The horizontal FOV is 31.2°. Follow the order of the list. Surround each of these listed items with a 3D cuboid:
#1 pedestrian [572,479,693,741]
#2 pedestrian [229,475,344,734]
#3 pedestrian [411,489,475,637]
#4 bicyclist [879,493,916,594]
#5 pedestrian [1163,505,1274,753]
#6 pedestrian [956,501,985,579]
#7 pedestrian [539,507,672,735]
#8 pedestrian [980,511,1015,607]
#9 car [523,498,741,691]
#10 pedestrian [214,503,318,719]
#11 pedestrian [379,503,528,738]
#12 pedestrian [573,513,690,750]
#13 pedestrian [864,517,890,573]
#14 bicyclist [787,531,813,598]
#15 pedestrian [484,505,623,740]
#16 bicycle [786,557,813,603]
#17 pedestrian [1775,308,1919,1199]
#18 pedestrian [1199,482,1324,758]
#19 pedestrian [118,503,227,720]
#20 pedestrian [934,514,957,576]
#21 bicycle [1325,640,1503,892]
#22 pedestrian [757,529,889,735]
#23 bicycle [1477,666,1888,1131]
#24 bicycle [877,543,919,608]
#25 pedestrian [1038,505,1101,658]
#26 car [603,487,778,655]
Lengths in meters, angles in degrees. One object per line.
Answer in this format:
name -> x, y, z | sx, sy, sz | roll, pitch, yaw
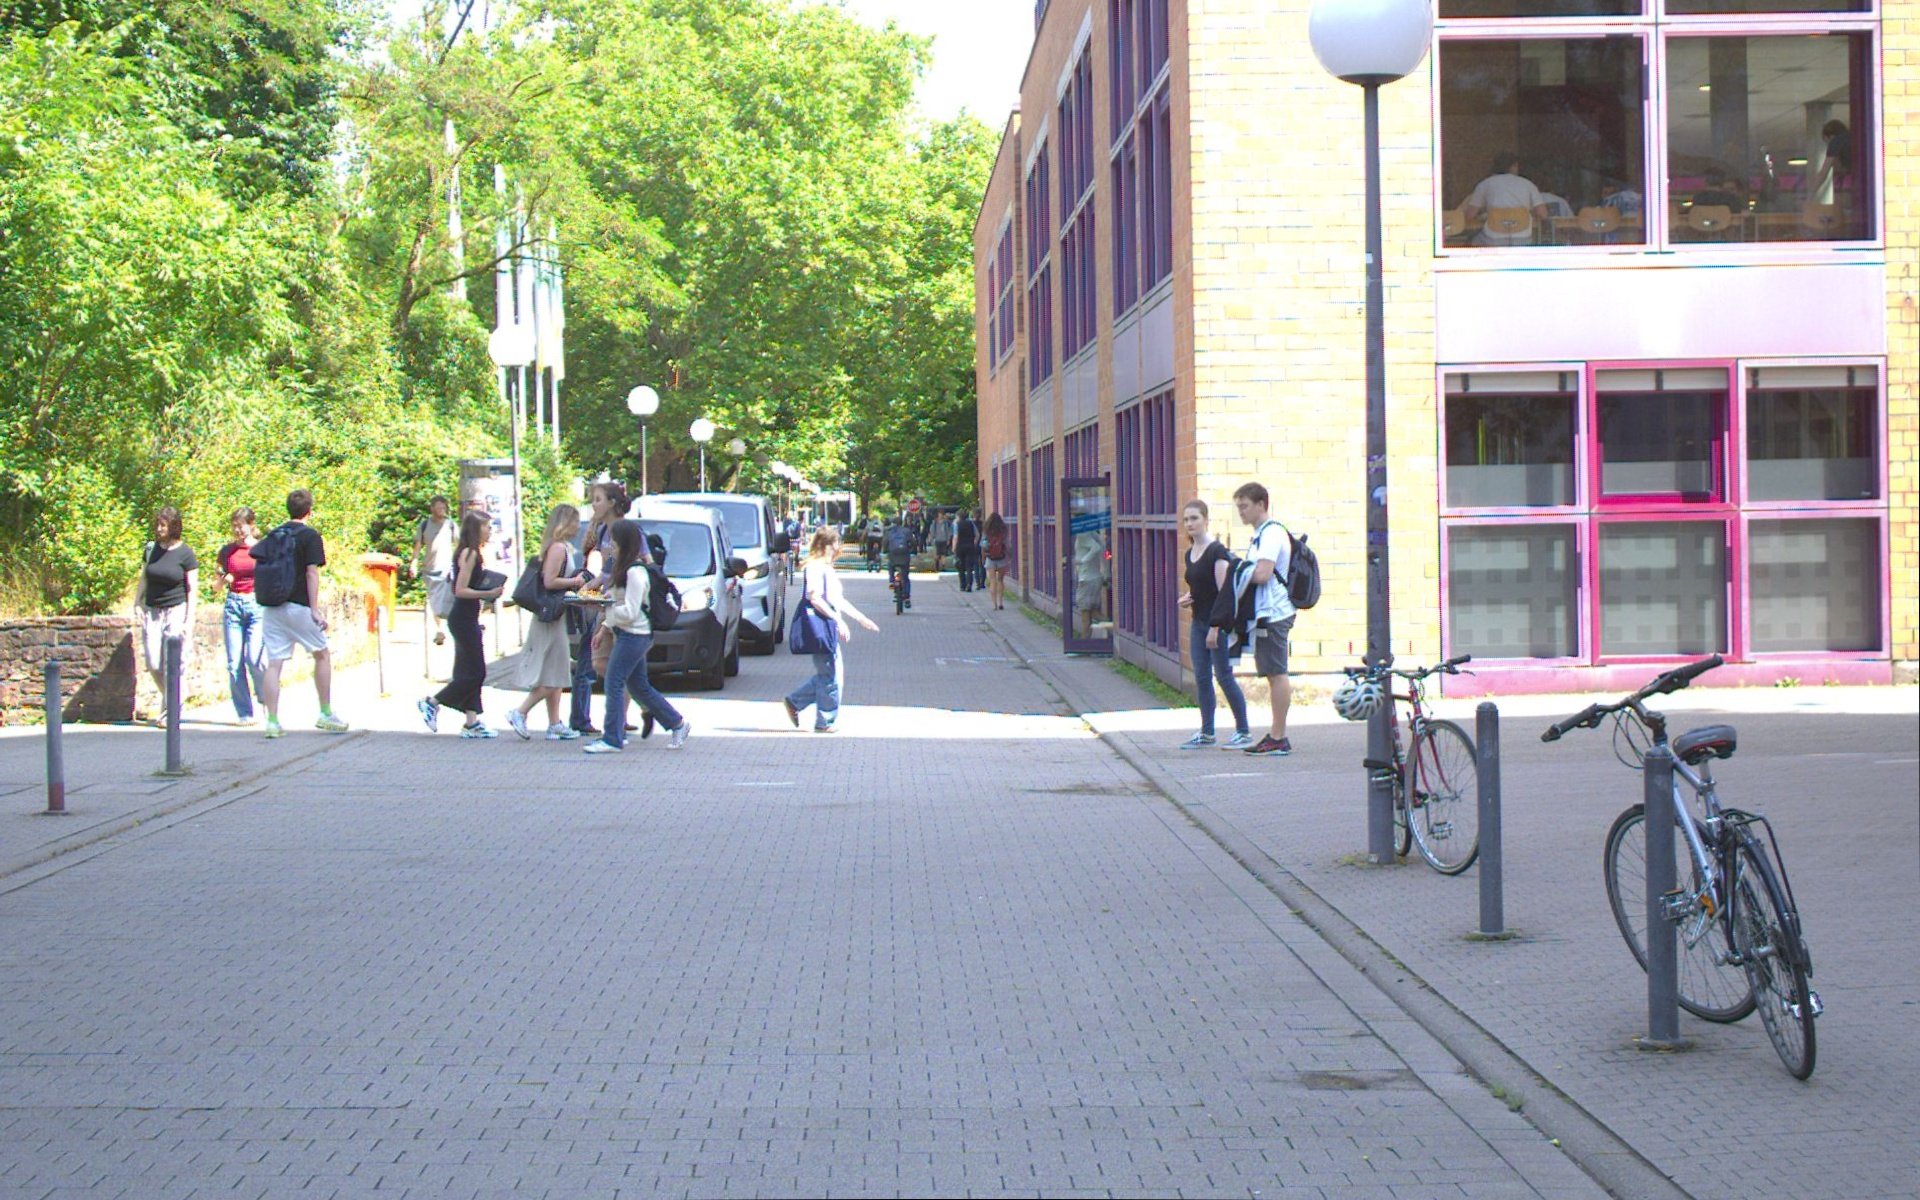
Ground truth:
pedestrian -> -2.332, 0.067, 24.521 | 0.825, 1.838, 0.685 | 0, 0, -3
pedestrian -> -4.871, 0.030, 24.908 | 0.682, 1.838, 0.783 | 0, 0, -1
pedestrian -> -6.481, -0.461, 43.120 | 0.682, 1.838, 0.783 | 0, 0, -1
bicyclist -> -1.066, -0.962, 58.581 | 0.587, 1.710, 0.665 | 0, 1, -5
pedestrian -> 1.775, 0.194, 23.585 | 0.697, 1.667, 0.588 | -1, 0, 6
pedestrian -> 0.230, -1.305, 74.640 | 0.586, 1.667, 0.817 | -1, 0, 0
pedestrian -> -2.643, 0.151, 25.589 | 0.929, 1.667, 0.588 | -1, 0, -9
pedestrian -> 0.662, -0.720, 60.816 | 0.586, 1.667, 0.699 | -1, 0, 0
car -> -3.154, -0.102, 33.820 | 1.790, 1.755, 4.482 | -1, 1, -1
pedestrian -> -5.289, 0.082, 26.239 | 0.682, 1.615, 0.914 | 0, 0, -6
pedestrian -> -3.714, 0.142, 25.251 | 0.886, 1.666, 0.643 | -2, 2, 6
pedestrian -> -2.271, 0.212, 23.832 | 0.780, 1.615, 0.685 | 0, 0, -3
pedestrian -> -2.541, -1.682, 105.117 | 0.725, 1.667, 0.748 | -1, 0, 0
bicyclist -> -3.824, -0.850, 81.924 | 0.587, 1.567, 0.829 | 0, 1, -5
pedestrian -> -2.926, 0.158, 24.772 | 0.886, 1.667, 0.559 | 0, 0, 6
bicycle -> -3.822, -0.483, 81.963 | 0.587, 1.080, 1.814 | 0, 1, -5
pedestrian -> 2.015, 0.447, 5.619 | 0.783, 1.839, 1.118 | 0, 1, -25
pedestrian -> 2.004, 0.131, 22.776 | 0.767, 1.788, 0.588 | -1, 0, 6
pedestrian -> -5.978, 0.081, 26.135 | 0.682, 1.615, 0.979 | 0, 0, -6
pedestrian -> -0.447, -1.716, 107.933 | 0.653, 1.916, 0.817 | -1, 0, 0
bicycle -> 1.965, 0.695, 15.042 | 0.450, 0.958, 1.740 | -3, 1, -2
pedestrian -> -1.043, 0.235, 26.323 | 0.886, 1.537, 0.743 | -1, 1, 6
bicycle -> 1.934, 0.762, 9.452 | 0.708, 1.089, 1.749 | 0, 1, -2
bicycle -> -1.062, -0.425, 58.579 | 0.587, 1.080, 1.908 | 0, 1, -5
pedestrian -> 1.257, -0.215, 39.591 | 0.682, 1.741, 0.783 | 0, 0, -1
car -> -3.301, -0.400, 42.983 | 1.883, 1.967, 5.215 | 0, 1, -1
